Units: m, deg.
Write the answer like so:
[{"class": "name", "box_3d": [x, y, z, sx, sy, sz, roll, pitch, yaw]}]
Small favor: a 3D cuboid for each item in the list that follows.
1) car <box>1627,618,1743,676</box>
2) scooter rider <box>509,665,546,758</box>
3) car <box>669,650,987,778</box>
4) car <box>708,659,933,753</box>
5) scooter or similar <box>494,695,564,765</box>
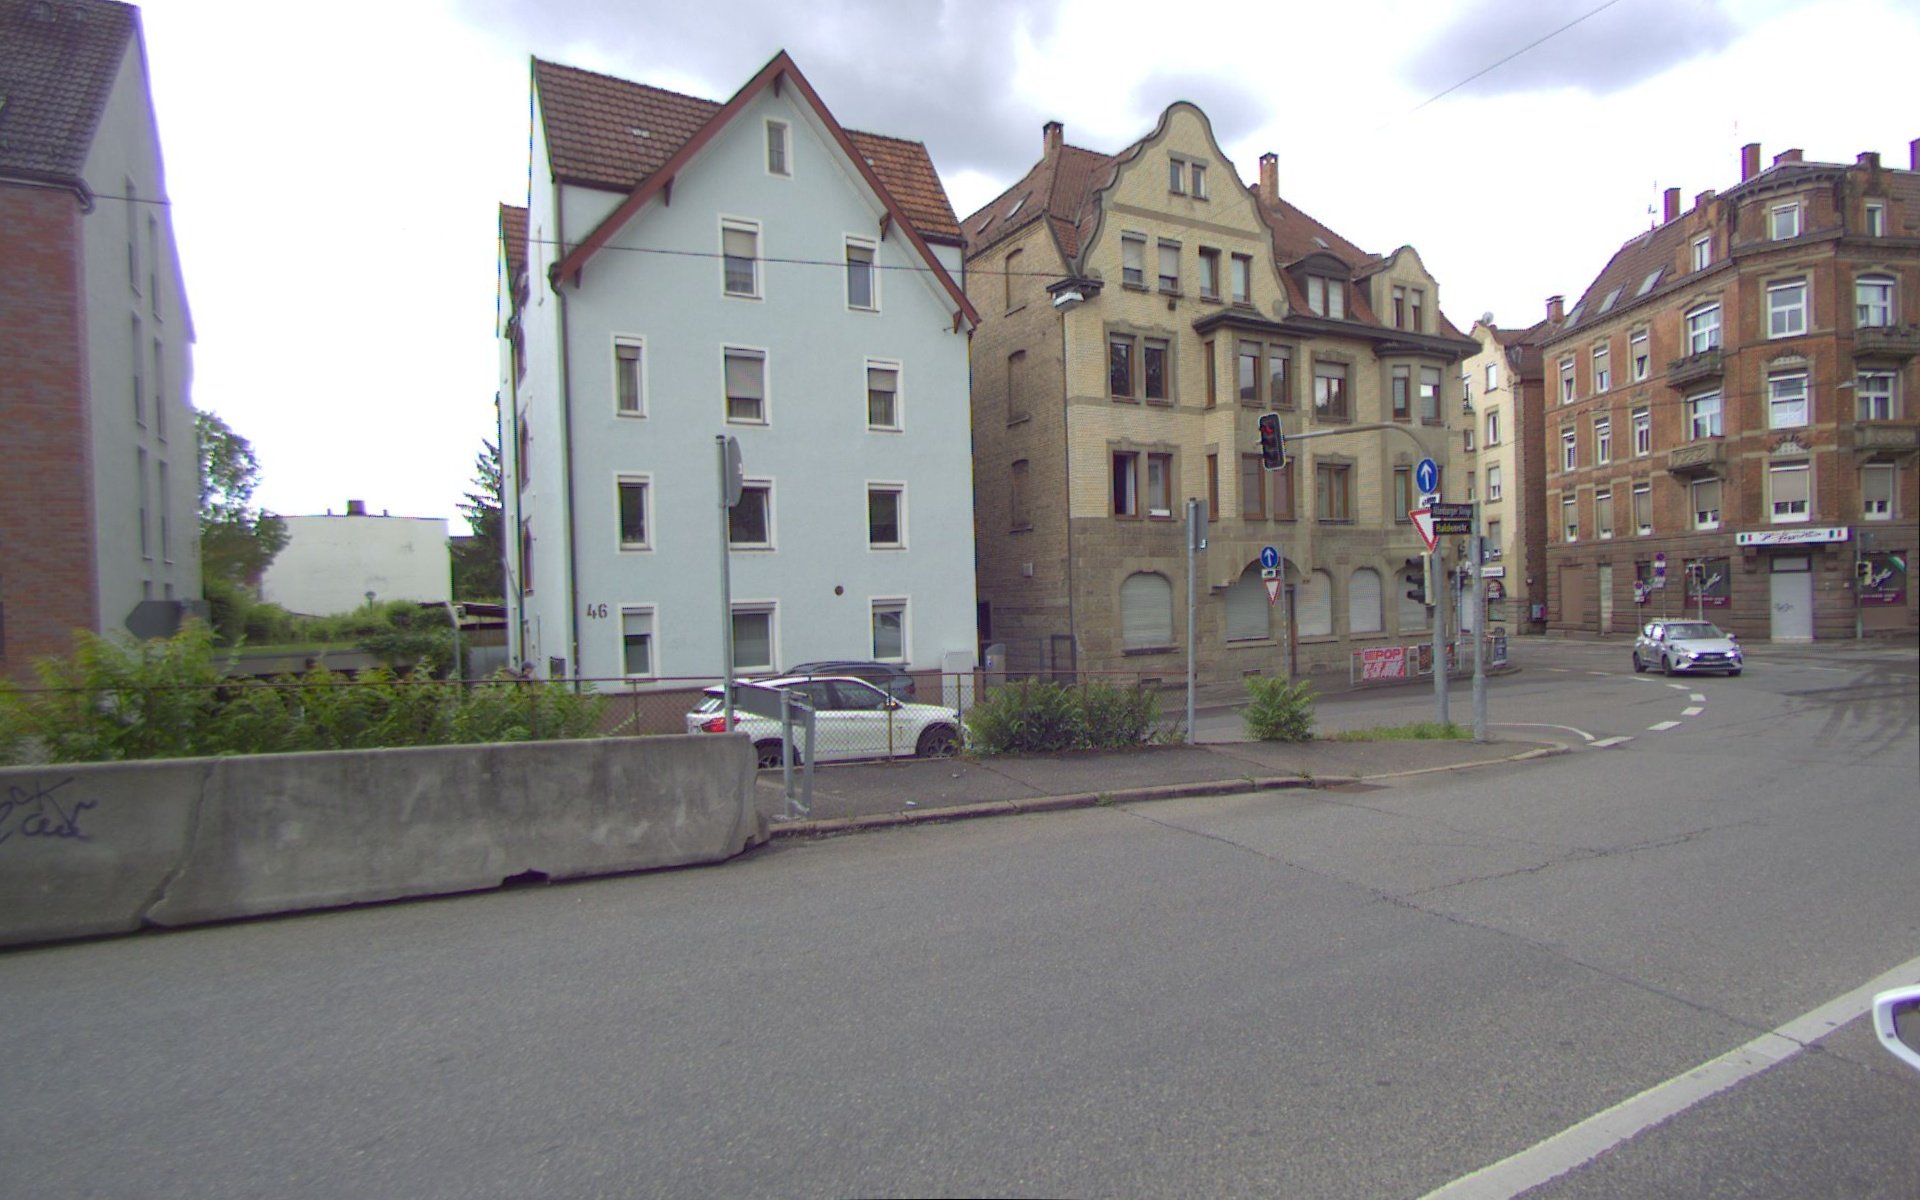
[{"class": "car", "box_3d": [20.100, 1.290, 28.004, 1.642, 1.487, 3.644, -1, -2, 20]}, {"class": "scooter rider", "box_3d": [-8.354, 2.136, 19.412, 0.570, 1.728, 0.485, -1, -1, -30]}, {"class": "car", "box_3d": [-1.920, 1.589, 15.031, 4.371, 1.534, 1.819, 1, 0, -30]}, {"class": "car", "box_3d": [-2.769, 2.042, 20.216, 4.184, 1.576, 1.674, 1, 0, -31]}, {"class": "scooter or similar", "box_3d": [-8.327, 2.498, 19.414, 1.212, 1.258, 0.376, 1, -2, -30]}]
